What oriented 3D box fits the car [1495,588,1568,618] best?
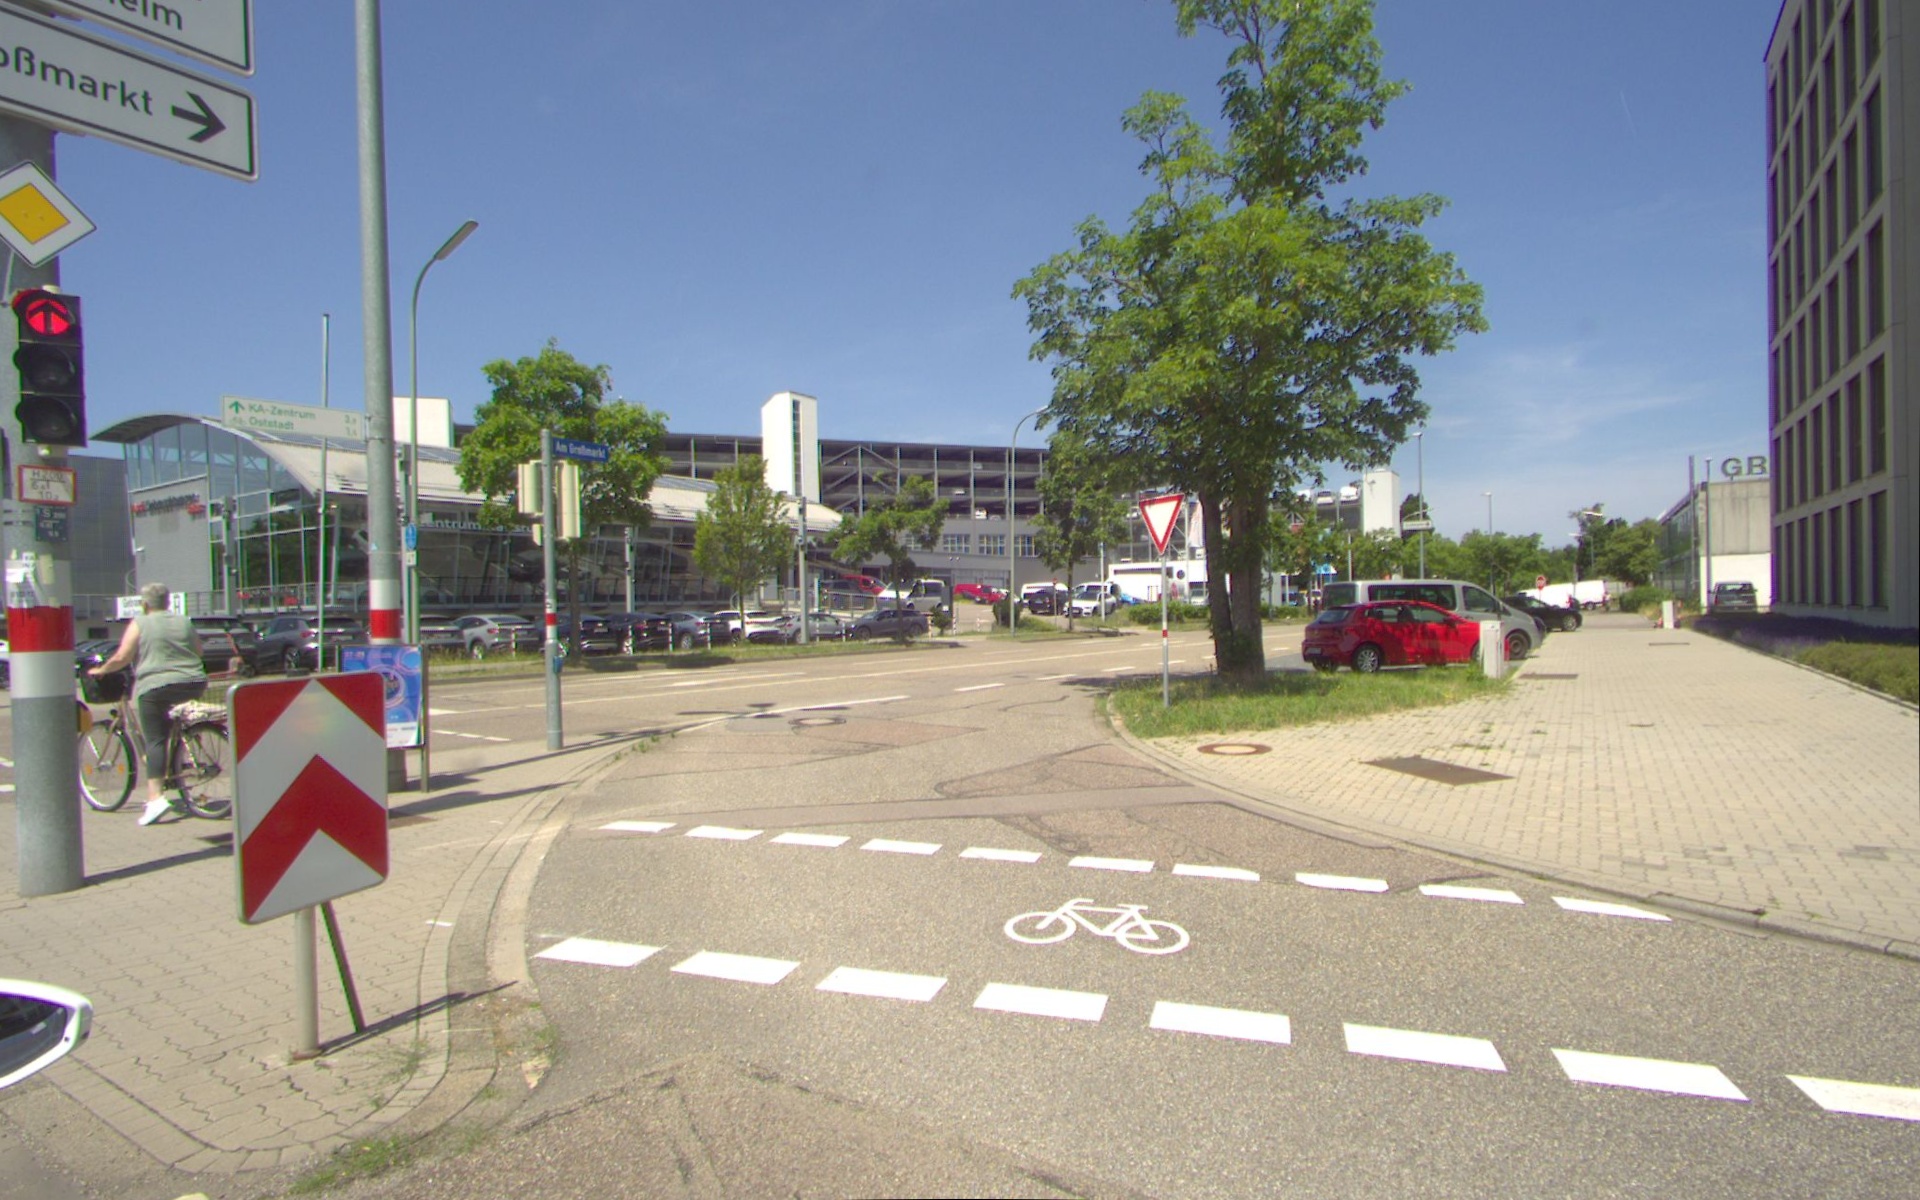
[{"bbox_3d":[41.488,0.252,72.699,4.513,2.039,1.990,-1,-2,33],"label":"car"}]

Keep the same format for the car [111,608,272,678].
[{"bbox_3d":[-19.512,1.107,25.382,4.442,1.578,1.863,-3,0,33],"label":"car"}]

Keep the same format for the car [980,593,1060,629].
[{"bbox_3d":[3.051,0.547,50.291,1.888,1.717,4.560,-1,0,35],"label":"car"}]

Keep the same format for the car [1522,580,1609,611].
[{"bbox_3d":[54.574,-0.336,90.386,6.606,2.552,2.206,-1,-2,35],"label":"car"}]

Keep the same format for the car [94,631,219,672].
[{"bbox_3d":[-32.788,2.097,40.956,1.619,1.600,3.642,-1,-3,32],"label":"car"}]

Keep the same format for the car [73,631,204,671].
[{"bbox_3d":[-34.638,2.157,42.330,1.610,1.593,3.977,-1,-3,32],"label":"car"}]

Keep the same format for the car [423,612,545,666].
[{"bbox_3d":[-15.167,1.200,31.883,3.758,1.637,1.635,0,0,28],"label":"car"}]

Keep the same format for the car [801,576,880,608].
[{"bbox_3d":[-6.698,-0.435,56.633,1.888,1.730,4.560,-1,0,35],"label":"car"}]

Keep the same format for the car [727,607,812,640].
[{"bbox_3d":[-9.819,1.175,51.587,3.938,1.591,1.842,-1,0,-28],"label":"car"}]

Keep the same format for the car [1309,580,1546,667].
[{"bbox_3d":[10.857,0.514,23.347,4.841,1.911,1.918,0,0,-12],"label":"car"}]

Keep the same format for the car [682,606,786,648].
[{"bbox_3d":[-9.288,1.138,41.196,3.937,1.675,1.844,-1,-3,28],"label":"car"}]

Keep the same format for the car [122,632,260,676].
[{"bbox_3d":[-30.181,2.106,39.405,1.633,1.642,3.980,-1,-3,32],"label":"car"}]

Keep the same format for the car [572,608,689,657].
[{"bbox_3d":[-12.015,1.213,36.487,3.937,1.675,1.844,-1,-3,28],"label":"car"}]

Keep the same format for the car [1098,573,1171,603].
[{"bbox_3d":[11.984,-0.787,68.836,4.521,1.912,1.904,-1,0,31],"label":"car"}]

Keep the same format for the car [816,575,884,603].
[{"bbox_3d":[-7.262,-0.721,66.279,4.082,1.745,1.907,-1,0,25],"label":"car"}]

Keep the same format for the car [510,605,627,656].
[{"bbox_3d":[-13.366,1.055,34.179,3.851,1.676,1.627,-1,-1,28],"label":"car"}]

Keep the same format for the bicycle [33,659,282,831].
[{"bbox_3d":[-6.061,1.039,7.555,1.862,1.147,0.628,0,-1,21],"label":"bicycle"}]

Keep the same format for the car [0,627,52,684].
[{"bbox_3d":[-25.149,1.338,24.099,1.843,1.407,4.583,-2,-3,34],"label":"car"}]

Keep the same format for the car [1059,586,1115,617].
[{"bbox_3d":[7.660,0.134,60.231,1.970,1.727,3.983,-1,-2,30],"label":"car"}]

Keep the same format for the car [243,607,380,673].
[{"bbox_3d":[-17.858,1.111,27.544,3.946,1.675,1.840,-2,-3,35],"label":"car"}]

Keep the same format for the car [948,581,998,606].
[{"bbox_3d":[0.981,-0.456,74.538,1.859,1.728,3.977,-1,-1,33],"label":"car"}]

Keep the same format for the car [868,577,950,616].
[{"bbox_3d":[-2.686,-0.166,53.963,1.885,1.992,5.228,-1,0,29],"label":"car"}]

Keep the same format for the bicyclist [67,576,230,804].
[{"bbox_3d":[-6.130,0.656,7.577,0.811,1.626,0.628,-1,-1,21],"label":"bicyclist"}]

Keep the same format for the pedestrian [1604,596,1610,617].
[{"bbox_3d":[48.956,0.471,75.782,0.399,1.580,0.546,-1,1,33],"label":"pedestrian"}]

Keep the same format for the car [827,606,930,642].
[{"bbox_3d":[-3.865,1.115,47.726,4.554,1.491,1.839,-2,1,-34],"label":"car"}]

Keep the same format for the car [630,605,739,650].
[{"bbox_3d":[-10.706,1.106,38.889,3.937,1.675,1.844,-1,-3,28],"label":"car"}]

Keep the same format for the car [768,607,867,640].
[{"bbox_3d":[-7.044,1.153,49.666,4.527,1.491,1.902,-1,0,-34],"label":"car"}]

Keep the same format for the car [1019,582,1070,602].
[{"bbox_3d":[7.779,-0.730,92.299,4.294,1.674,1.904,-1,0,31],"label":"car"}]

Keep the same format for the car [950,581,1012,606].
[{"bbox_3d":[1.648,-0.502,78.022,4.525,1.821,1.903,-1,0,34],"label":"car"}]

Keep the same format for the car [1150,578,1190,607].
[{"bbox_3d":[16.350,-0.540,77.716,1.812,2.039,3.981,-1,-2,31],"label":"car"}]

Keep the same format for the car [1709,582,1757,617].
[{"bbox_3d":[42.195,0.015,54.725,1.772,1.750,3.978,-1,-2,34],"label":"car"}]

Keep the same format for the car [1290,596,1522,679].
[{"bbox_3d":[8.919,0.730,20.182,3.923,1.451,1.699,-2,-1,-7],"label":"car"}]

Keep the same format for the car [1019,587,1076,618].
[{"bbox_3d":[5.398,0.177,61.283,1.970,1.727,3.983,-1,-2,30],"label":"car"}]

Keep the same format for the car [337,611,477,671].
[{"bbox_3d":[-16.567,1.235,29.995,3.937,1.675,1.844,-1,-3,28],"label":"car"}]
